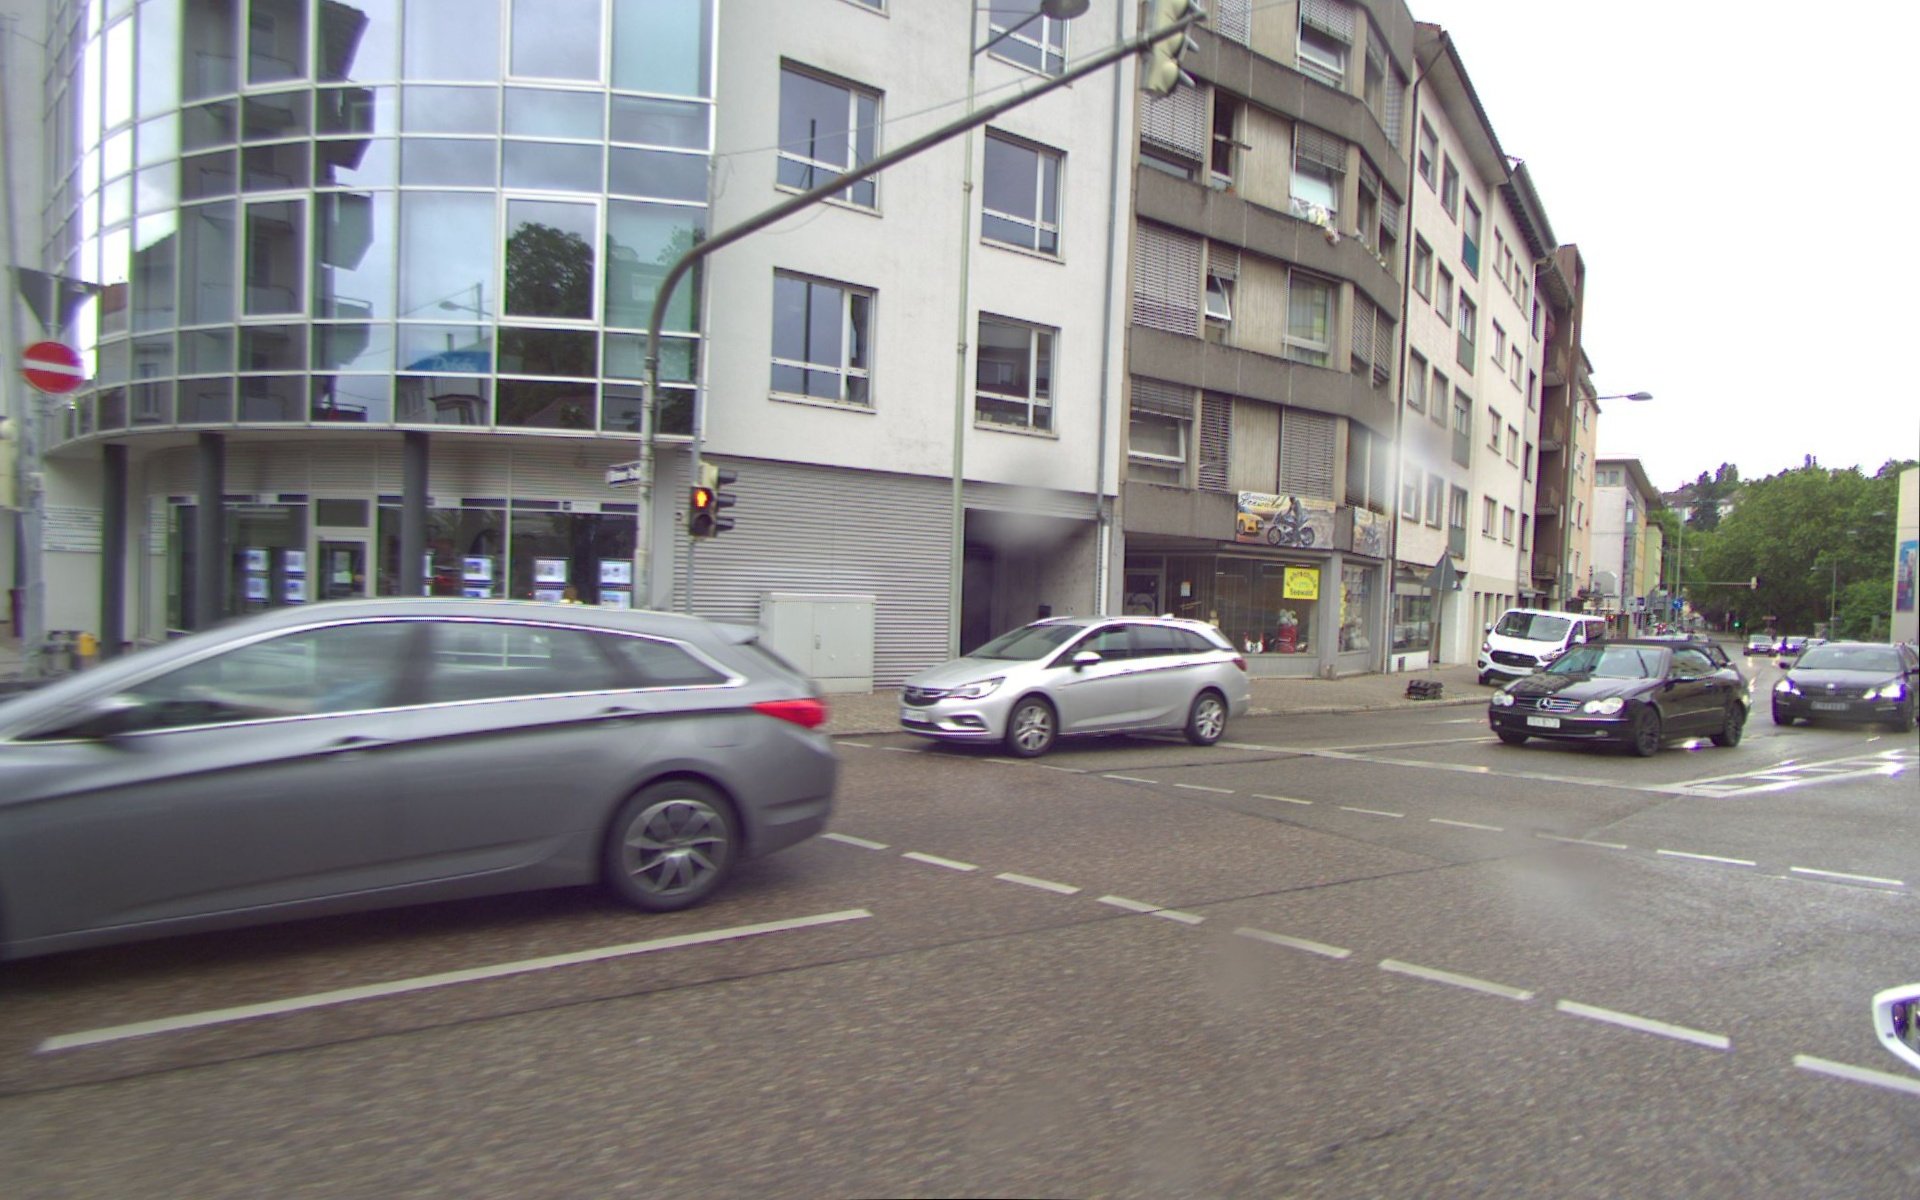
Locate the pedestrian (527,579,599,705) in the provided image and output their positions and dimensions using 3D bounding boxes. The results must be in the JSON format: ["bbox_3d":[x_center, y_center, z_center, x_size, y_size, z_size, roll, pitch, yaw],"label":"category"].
[{"bbox_3d":[-5.302,0.556,13.451,0.819,1.629,0.623,1,0,-18],"label":"pedestrian"}]

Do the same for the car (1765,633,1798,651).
[{"bbox_3d":[73.790,3.781,90.315,1.796,1.452,4.387,2,-1,33],"label":"car"}]

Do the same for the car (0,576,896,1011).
[{"bbox_3d":[-2.775,0.697,4.863,4.597,1.493,1.842,2,-1,-32],"label":"car"}]

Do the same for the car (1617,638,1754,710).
[{"bbox_3d":[15.911,1.567,21.982,3.567,1.418,1.707,2,-2,-41],"label":"car"}]

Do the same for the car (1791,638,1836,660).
[{"bbox_3d":[65.595,3.736,77.252,1.906,1.547,4.127,2,-1,30],"label":"car"}]

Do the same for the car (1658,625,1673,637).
[{"bbox_3d":[120.347,5.312,171.345,1.967,1.884,3.987,5,2,35],"label":"car"}]

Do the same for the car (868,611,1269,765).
[{"bbox_3d":[1.373,0.939,11.805,4.556,1.493,1.917,2,-2,-34],"label":"car"}]

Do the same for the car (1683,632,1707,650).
[{"bbox_3d":[69.150,3.845,94.562,1.669,1.648,3.988,1,-1,34],"label":"car"}]

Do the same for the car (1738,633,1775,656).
[{"bbox_3d":[62.563,3.475,78.941,1.837,1.669,4.242,1,-1,33],"label":"car"}]

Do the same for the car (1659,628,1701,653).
[{"bbox_3d":[56.567,3.184,78.912,3.968,1.728,1.667,2,2,-40],"label":"car"}]

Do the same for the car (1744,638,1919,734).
[{"bbox_3d":[15.813,1.447,17.954,4.449,1.478,1.967,2,-2,-40],"label":"car"}]

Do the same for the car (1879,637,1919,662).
[{"bbox_3d":[66.254,3.479,70.512,1.967,1.550,3.986,5,2,36],"label":"car"}]

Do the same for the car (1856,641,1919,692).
[{"bbox_3d":[29.704,2.080,31.978,1.664,1.492,3.981,-1,-2,40],"label":"car"}]

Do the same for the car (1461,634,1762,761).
[{"bbox_3d":[8.775,1.219,13.398,4.558,1.384,1.812,3,-2,-35],"label":"car"}]

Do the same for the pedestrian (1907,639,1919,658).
[{"bbox_3d":[91.335,4.633,96.239,0.602,1.760,0.681,1,-1,23],"label":"pedestrian"}]

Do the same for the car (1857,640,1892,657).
[{"bbox_3d":[87.694,4.674,96.362,1.690,1.461,4.073,0,-1,31],"label":"car"}]

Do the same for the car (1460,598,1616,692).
[{"bbox_3d":[14.925,1.166,25.808,5.097,2.041,2.097,4,1,-45],"label":"car"}]

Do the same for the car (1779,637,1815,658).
[{"bbox_3d":[68.751,3.885,82.560,1.796,1.629,4.417,2,-1,35],"label":"car"}]
